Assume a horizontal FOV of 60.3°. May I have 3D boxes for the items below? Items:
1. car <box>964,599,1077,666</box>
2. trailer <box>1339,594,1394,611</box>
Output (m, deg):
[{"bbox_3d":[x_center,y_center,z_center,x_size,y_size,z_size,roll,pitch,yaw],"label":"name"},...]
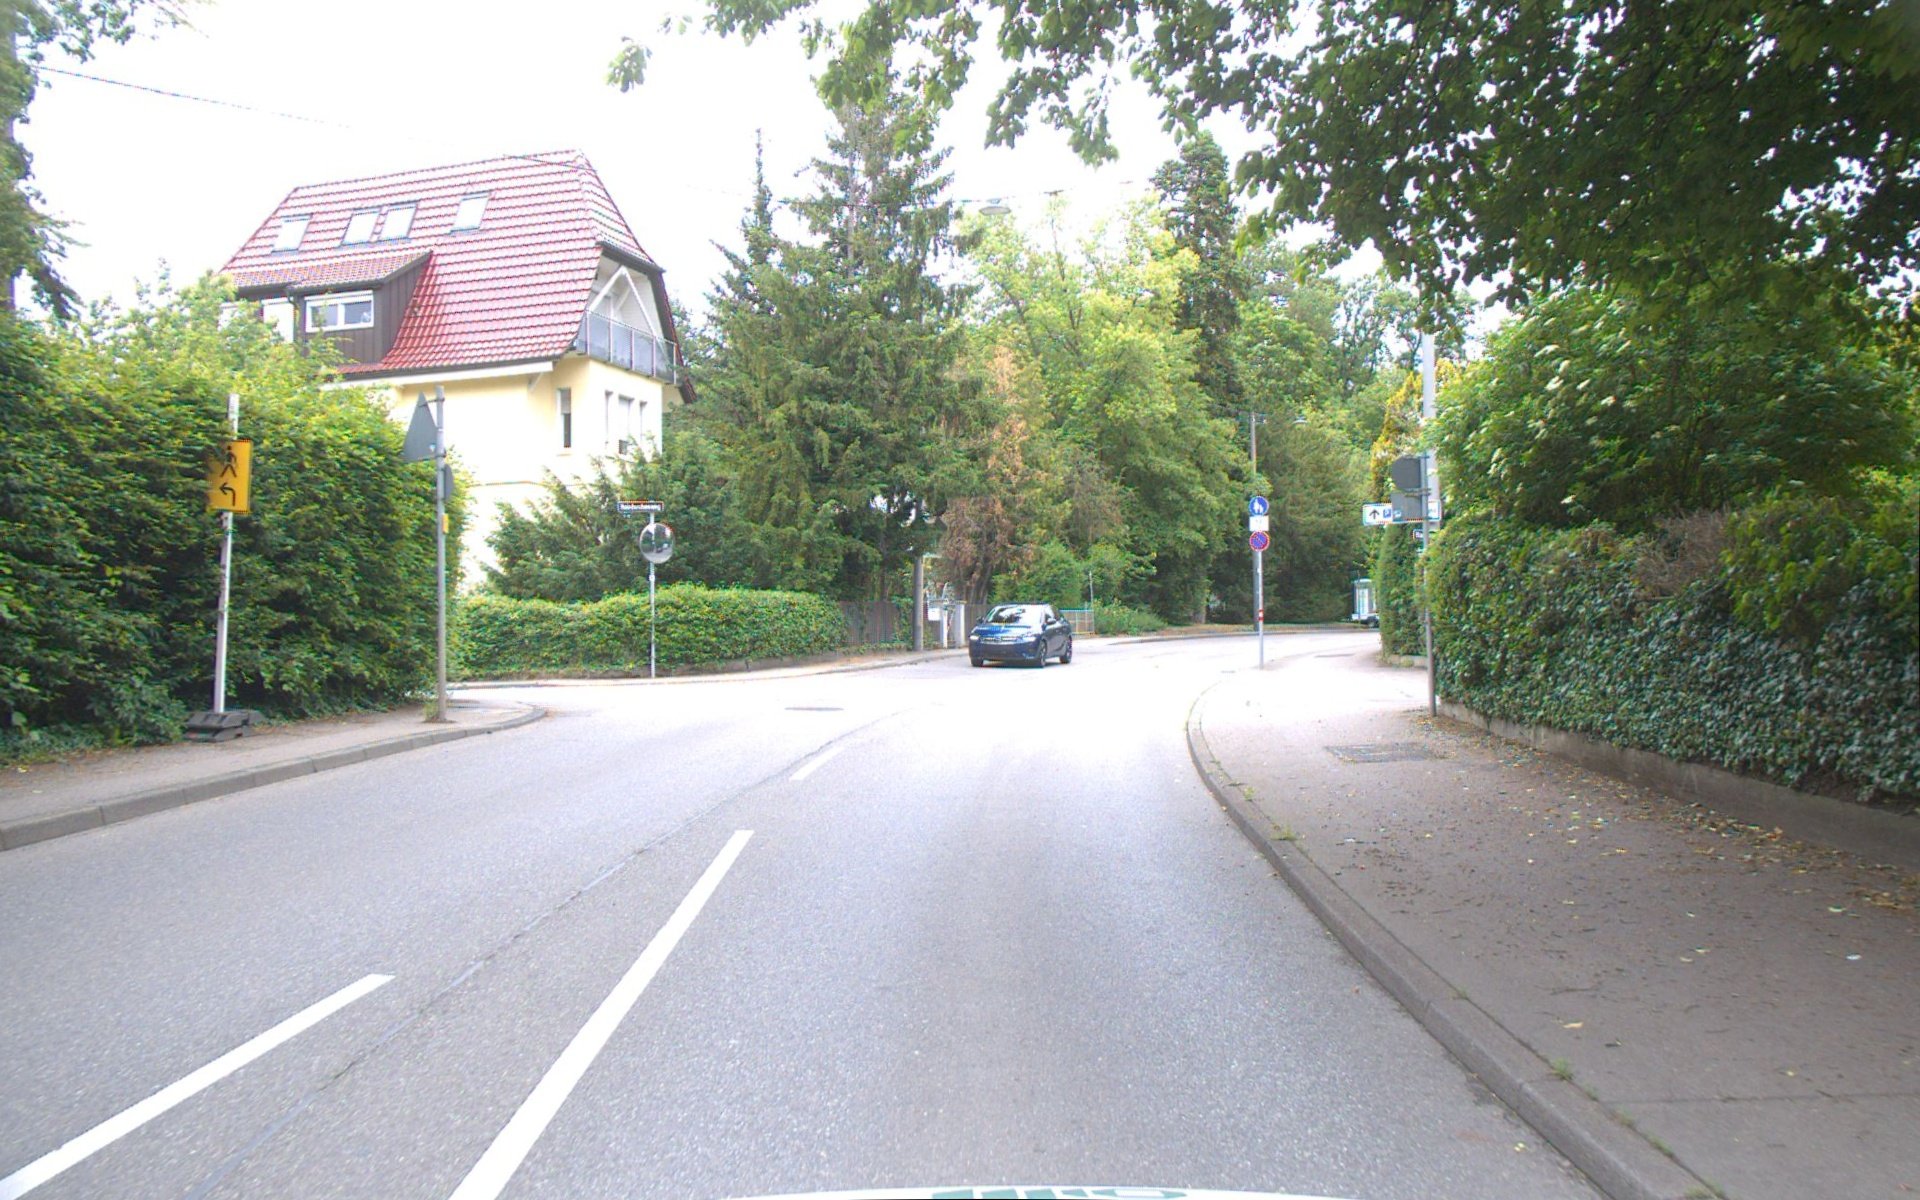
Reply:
[{"bbox_3d":[1.472,0.718,38.658,1.719,1.464,4.096,0,0,16],"label":"car"},{"bbox_3d":[23.326,0.156,94.907,2.895,0.843,1.475,-2,-2,23],"label":"trailer"}]
